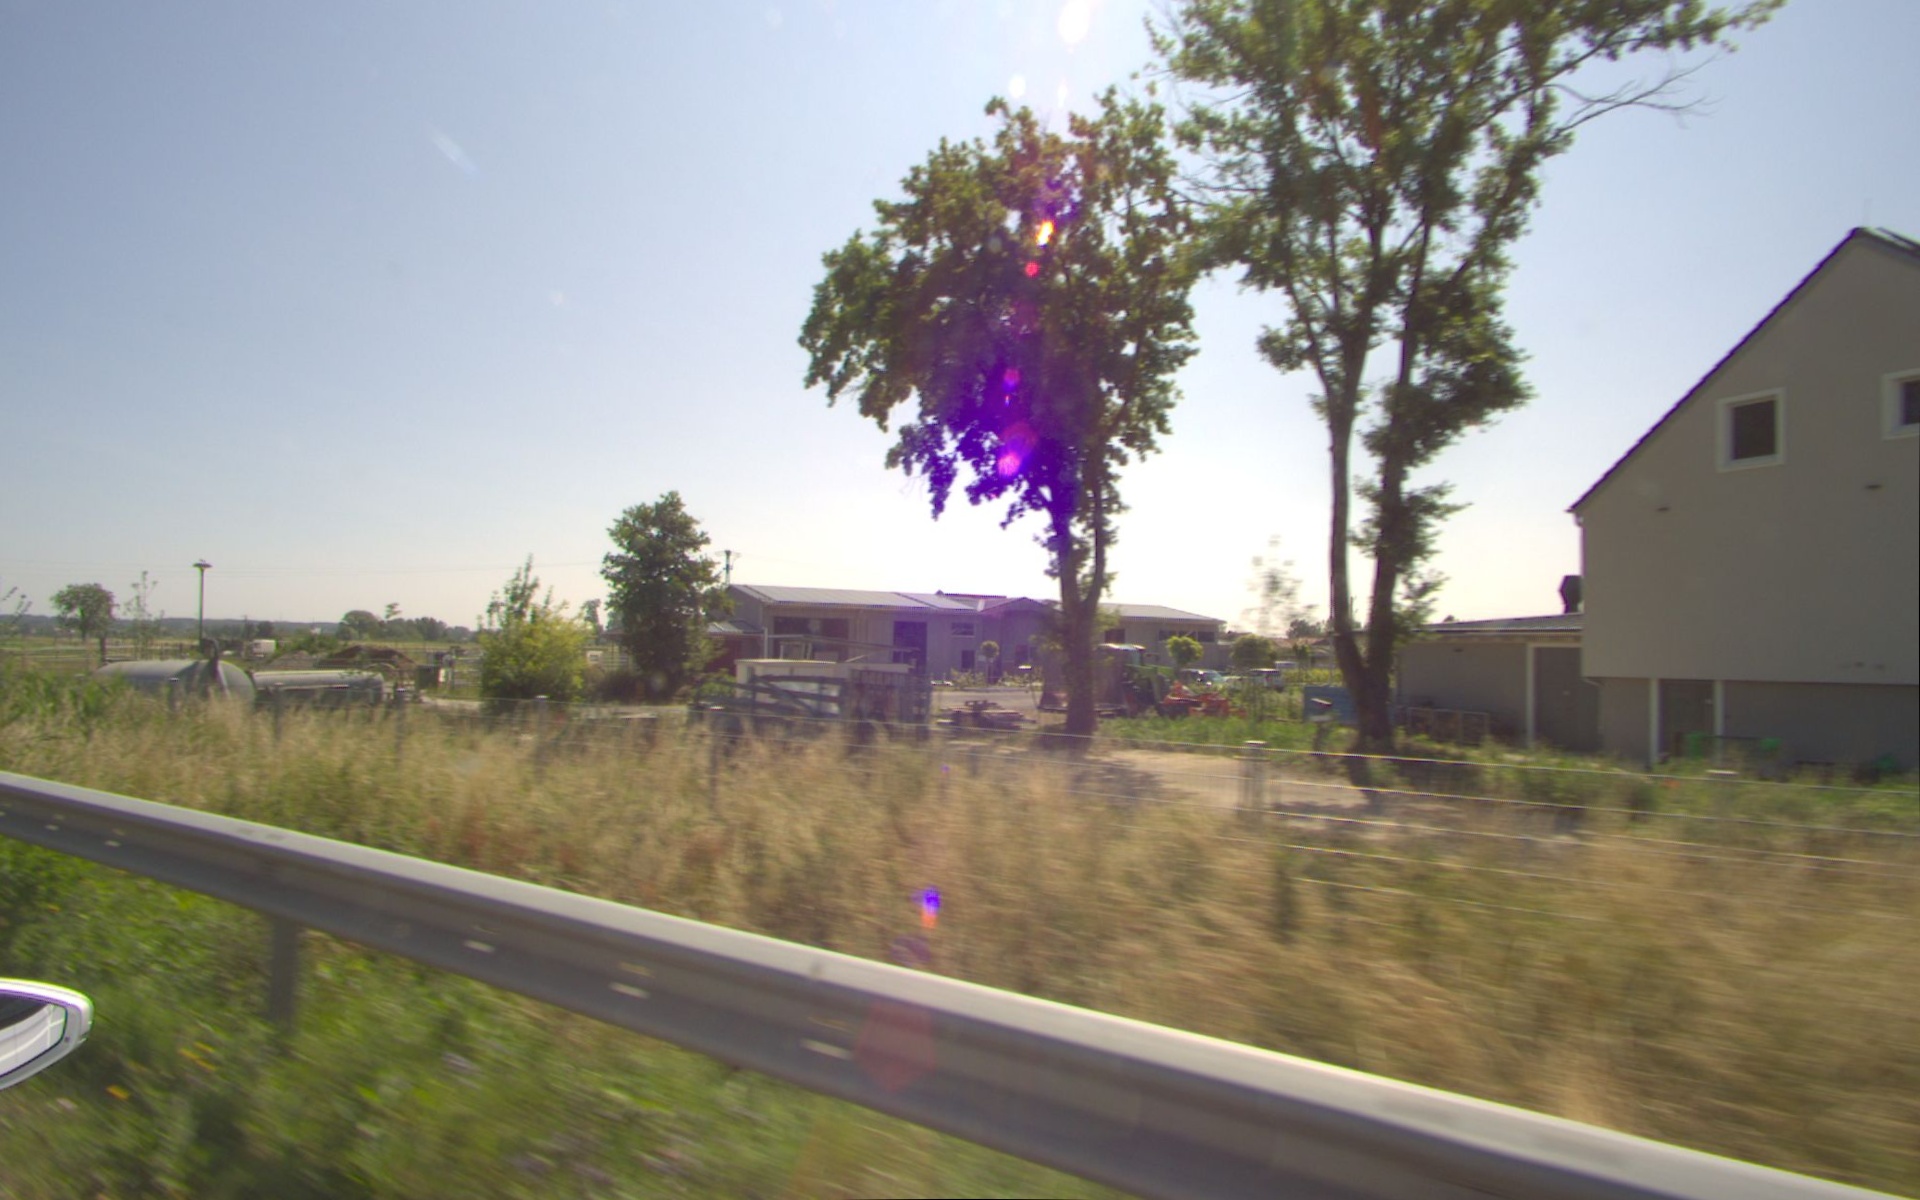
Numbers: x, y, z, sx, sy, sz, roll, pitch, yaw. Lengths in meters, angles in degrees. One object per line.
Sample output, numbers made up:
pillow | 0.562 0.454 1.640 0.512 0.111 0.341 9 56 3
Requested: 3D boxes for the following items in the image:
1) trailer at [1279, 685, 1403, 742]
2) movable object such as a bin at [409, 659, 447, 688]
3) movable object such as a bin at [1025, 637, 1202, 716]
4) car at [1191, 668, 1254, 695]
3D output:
trailer | 10.745 3.196 28.472 1.687 1.514 3.138 2 -5 -19
movable object such as a bin | -25.196 3.481 47.423 1.356 1.366 1.507 3 -4 -35
movable object such as a bin | 5.857 2.914 39.018 2.980 2.803 6.454 5 -4 -38
car | 16.756 5.186 64.041 1.887 1.512 3.863 3 -2 -24
